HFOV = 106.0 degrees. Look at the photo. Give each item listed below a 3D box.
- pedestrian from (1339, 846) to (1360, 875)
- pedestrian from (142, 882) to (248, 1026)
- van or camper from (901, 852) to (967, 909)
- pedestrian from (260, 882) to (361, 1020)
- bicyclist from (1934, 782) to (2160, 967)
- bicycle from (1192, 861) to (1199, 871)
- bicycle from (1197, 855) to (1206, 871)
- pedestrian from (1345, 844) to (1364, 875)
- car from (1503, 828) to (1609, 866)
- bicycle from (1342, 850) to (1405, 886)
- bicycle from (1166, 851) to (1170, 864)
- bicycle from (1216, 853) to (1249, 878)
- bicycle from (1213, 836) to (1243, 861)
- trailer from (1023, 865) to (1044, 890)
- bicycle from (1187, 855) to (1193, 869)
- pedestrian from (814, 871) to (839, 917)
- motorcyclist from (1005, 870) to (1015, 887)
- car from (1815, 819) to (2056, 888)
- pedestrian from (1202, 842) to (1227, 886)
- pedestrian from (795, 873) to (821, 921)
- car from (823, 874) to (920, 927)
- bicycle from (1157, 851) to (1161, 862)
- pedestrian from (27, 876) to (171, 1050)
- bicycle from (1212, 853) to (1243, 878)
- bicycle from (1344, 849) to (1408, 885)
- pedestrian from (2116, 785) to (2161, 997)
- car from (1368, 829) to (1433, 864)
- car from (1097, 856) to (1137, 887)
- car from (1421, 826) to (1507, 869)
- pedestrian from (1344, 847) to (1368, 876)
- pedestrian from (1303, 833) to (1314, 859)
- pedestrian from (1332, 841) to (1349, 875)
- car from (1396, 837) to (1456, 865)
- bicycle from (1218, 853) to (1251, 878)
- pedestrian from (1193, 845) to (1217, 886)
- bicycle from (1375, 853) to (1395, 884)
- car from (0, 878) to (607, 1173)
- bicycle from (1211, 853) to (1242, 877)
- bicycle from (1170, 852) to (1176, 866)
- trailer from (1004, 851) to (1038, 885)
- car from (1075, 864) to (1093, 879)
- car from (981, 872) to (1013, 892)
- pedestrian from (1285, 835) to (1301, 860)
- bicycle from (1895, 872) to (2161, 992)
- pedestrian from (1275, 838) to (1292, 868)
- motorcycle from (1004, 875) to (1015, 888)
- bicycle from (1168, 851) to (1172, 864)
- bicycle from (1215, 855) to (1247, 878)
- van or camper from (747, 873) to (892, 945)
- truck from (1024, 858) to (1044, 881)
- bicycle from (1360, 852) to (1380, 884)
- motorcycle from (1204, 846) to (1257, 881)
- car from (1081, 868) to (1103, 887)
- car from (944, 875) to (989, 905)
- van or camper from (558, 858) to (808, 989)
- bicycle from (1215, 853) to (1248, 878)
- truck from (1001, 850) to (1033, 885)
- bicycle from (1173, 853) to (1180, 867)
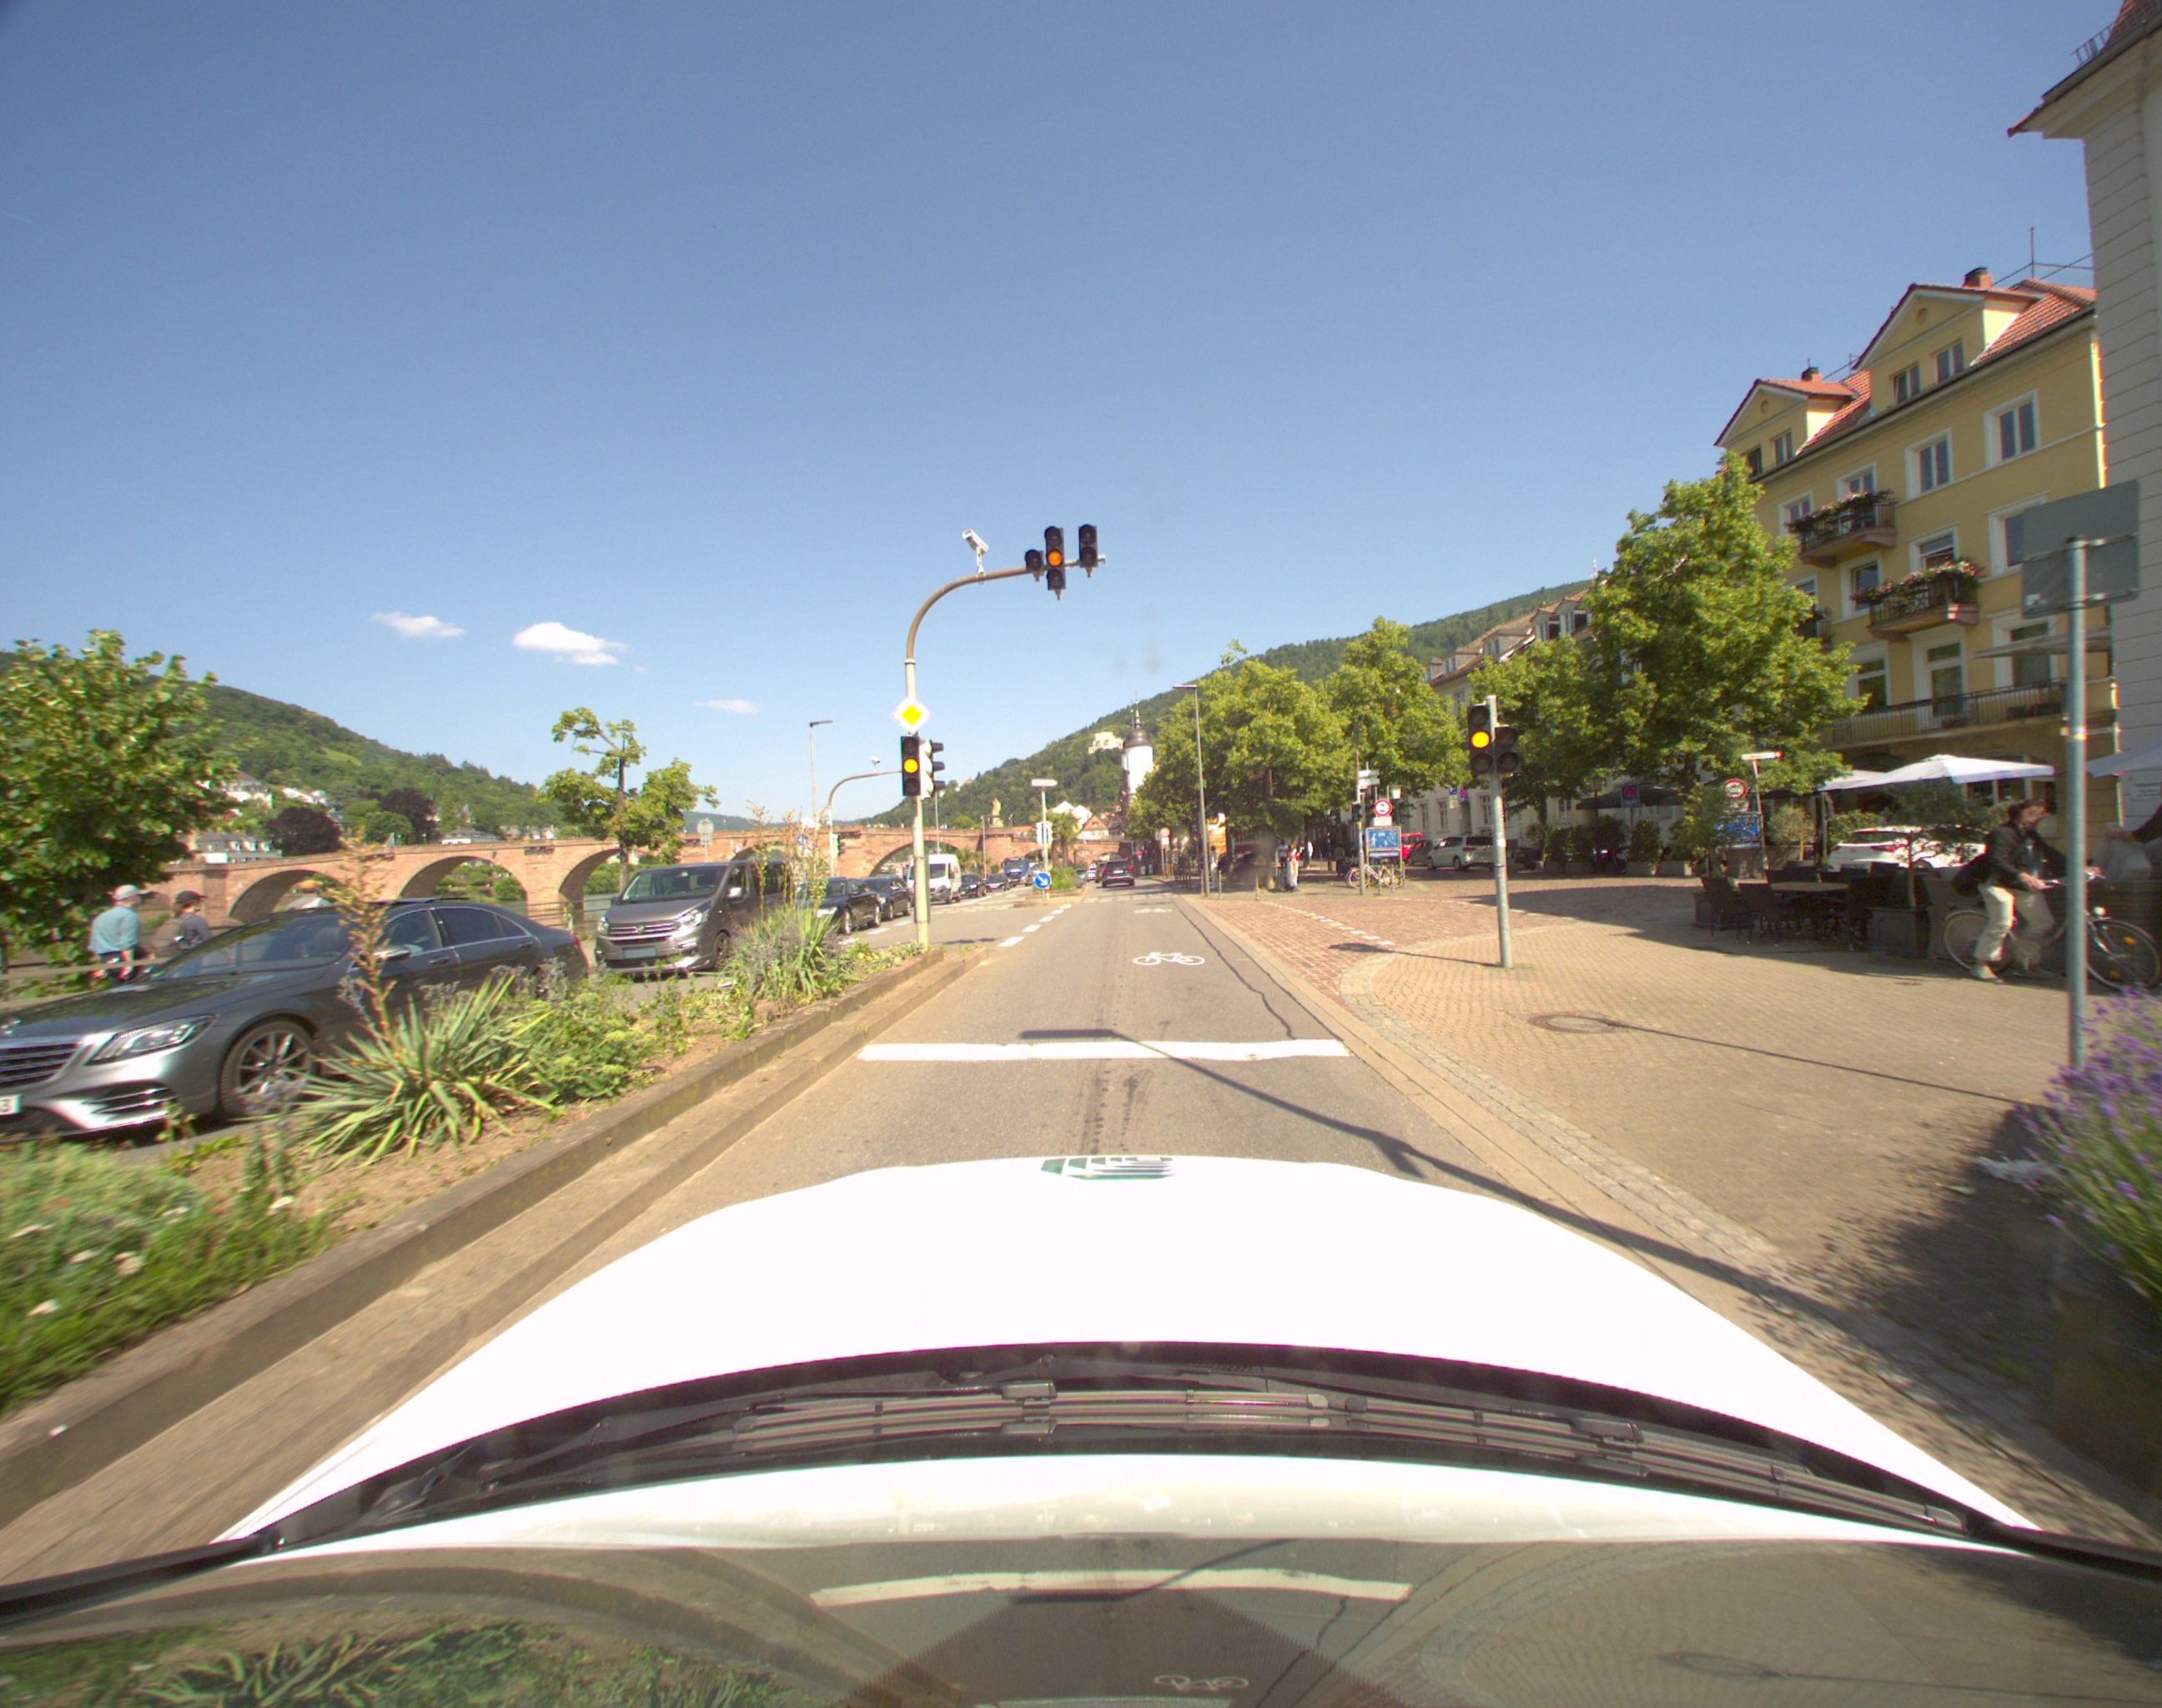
[{"bbox_3d":[12.352,0.297,37.469,0.625,1.281,0.752,-1,-1,-7],"label":"pedestrian"},{"bbox_3d":[-10.364,1.147,9.544,0.539,1.600,0.641,-1,-1,-3],"label":"pedestrian"},{"bbox_3d":[-7.148,1.269,40.165,1.987,2.450,5.494,-5,-1,0],"label":"van or camper"},{"bbox_3d":[-10.883,1.335,11.532,0.761,1.858,0.694,-1,-1,-7],"label":"pedestrian"},{"bbox_3d":[9.046,0.182,7.677,0.767,1.583,1.084,-3,-1,-13],"label":"bicyclist"},{"bbox_3d":[7.692,0.779,54.819,0.249,0.664,1.469,-3,-1,0],"label":"bicycle"},{"bbox_3d":[7.646,0.583,51.679,0.249,1.010,1.488,-3,-1,0],"label":"bicycle"},{"bbox_3d":[12.352,0.251,36.817,0.625,1.382,0.540,-1,-1,-7],"label":"pedestrian"},{"bbox_3d":[21.093,-0.307,36.239,3.730,1.432,1.621,-3,0,-2],"label":"car"},{"bbox_3d":[10.242,0.476,28.563,1.998,1.198,0.523,-2,0,12],"label":"bicycle"},{"bbox_3d":[7.831,0.333,73.389,0.249,1.096,1.489,-1,-1,1],"label":"bicycle"},{"bbox_3d":[7.387,0.562,39.720,1.481,1.120,0.377,-4,-1,-5],"label":"bicycle"},{"bbox_3d":[9.238,-0.343,51.250,1.769,1.483,0.269,-4,-1,-1],"label":"bicycle"},{"bbox_3d":[-7.076,3.453,123.465,2.650,3.403,10.162,-3,0,-1],"label":"trailer"},{"bbox_3d":[7.747,0.565,57.868,0.249,1.000,1.488,-1,-1,0],"label":"bicycle"},{"bbox_3d":[-9.959,1.556,31.873,0.693,1.780,0.762,2,-1,-7],"label":"pedestrian"},{"bbox_3d":[-6.584,2.255,75.325,0.733,1.470,1.011,-3,-1,-1],"label":"motorcyclist"},{"bbox_3d":[20.585,-0.035,19.741,3.975,1.455,1.833,-2,1,-1],"label":"car"},{"bbox_3d":[5.553,0.402,33.863,0.693,1.771,0.762,-5,0,-7],"label":"pedestrian"},{"bbox_3d":[-10.331,1.623,30.844,0.693,1.780,0.762,2,-1,-7],"label":"pedestrian"},{"bbox_3d":[-7.026,1.508,27.845,1.946,1.408,4.570,-6,0,1],"label":"car"},{"bbox_3d":[8.043,0.249,84.102,0.354,1.096,1.491,-1,-1,7],"label":"bicycle"},{"bbox_3d":[-11.081,1.190,9.220,0.761,1.858,0.694,-1,-1,-7],"label":"pedestrian"},{"bbox_3d":[7.432,0.584,41.340,1.481,1.120,0.250,-4,-1,-5],"label":"bicycle"},{"bbox_3d":[10.144,0.459,28.062,1.985,1.198,0.523,-1,0,12],"label":"bicycle"},{"bbox_3d":[9.839,0.305,7.097,0.761,1.858,0.608,-5,0,-7],"label":"pedestrian"},{"bbox_3d":[19.445,-0.430,49.757,1.988,1.902,4.631,-3,0,-1],"label":"car"},{"bbox_3d":[1.976,0.960,46.161,1.921,1.553,4.829,-4,-1,-1],"label":"car"},{"bbox_3d":[17.405,-0.284,37.285,1.763,1.728,4.568,-3,0,0],"label":"car"},{"bbox_3d":[12.182,0.334,36.070,0.693,1.252,0.762,-3,0,-7],"label":"pedestrian"},{"bbox_3d":[18.020,-0.602,64.532,0.632,2.013,0.644,-3,0,0],"label":"pedestrian"},{"bbox_3d":[11.846,0.176,37.170,0.458,1.517,0.689,-2,-1,-7],"label":"pedestrian"},{"bbox_3d":[18.940,-0.138,44.836,1.670,1.432,3.469,-3,-1,-2],"label":"car"},{"bbox_3d":[7.409,0.561,39.338,1.479,1.120,0.294,-4,-1,-1],"label":"bicycle"},{"bbox_3d":[5.249,0.475,34.486,0.693,1.677,0.762,-5,0,-7],"label":"pedestrian"},{"bbox_3d":[11.085,0.507,29.679,0.589,1.067,2.076,-4,-2,20],"label":"bicycle"},{"bbox_3d":[-6.878,1.177,7.508,1.989,1.598,5.152,-6,0,-2],"label":"car"},{"bbox_3d":[7.507,0.590,42.126,1.481,1.120,0.250,-4,-1,-5],"label":"bicycle"},{"bbox_3d":[7.795,0.418,69.055,0.274,1.096,1.489,-8,-1,1],"label":"bicycle"},{"bbox_3d":[-6.492,1.455,89.218,2.648,3.403,8.828,-3,0,1],"label":"trailer"},{"bbox_3d":[0.390,1.976,94.531,1.986,1.553,4.833,-3,0,1],"label":"car"},{"bbox_3d":[-6.733,2.272,65.637,1.946,1.412,4.218,-5,-2,1],"label":"car"},{"bbox_3d":[16.834,-0.494,64.605,0.965,1.915,0.747,-3,-1,1],"label":"pedestrian"},{"bbox_3d":[9.063,0.668,7.708,0.750,0.964,1.774,-2,-1,-12],"label":"bicycle"},{"bbox_3d":[11.490,-0.081,46.289,0.705,1.653,0.707,-3,-1,1],"label":"pedestrian"},{"bbox_3d":[-6.575,2.538,75.309,0.755,1.131,2.454,-3,0,-1],"label":"motorcycle"},{"bbox_3d":[7.800,0.332,71.462,0.249,1.096,1.489,-1,-1,1],"label":"bicycle"},{"bbox_3d":[7.558,0.622,41.098,1.481,1.031,0.293,-4,-1,-5],"label":"bicycle"},{"bbox_3d":[-6.633,1.325,21.331,1.987,1.476,5.065,-5,-1,1],"label":"van or camper"},{"bbox_3d":[-7.157,2.384,125.122,2.650,3.403,5.132,-3,-1,-1],"label":"truck"},{"bbox_3d":[10.627,0.502,29.929,0.589,1.067,2.076,-4,-1,20],"label":"bicycle"},{"bbox_3d":[6.963,0.435,37.997,2.269,1.465,0.769,-5,-2,42],"label":"motorcycle"},{"bbox_3d":[1.108,2.241,78.706,1.986,1.553,4.833,-3,0,1],"label":"car"},{"bbox_3d":[-6.850,2.104,49.047,1.812,1.455,4.929,-5,0,1],"label":"car"},{"bbox_3d":[-6.988,1.094,15.116,1.987,1.873,5.178,-4,0,0],"label":"van or camper"},{"bbox_3d":[7.439,0.566,40.218,1.481,1.120,0.293,-4,-1,-5],"label":"bicycle"},{"bbox_3d":[-6.598,1.421,84.562,2.648,3.403,4.451,-3,-1,1],"label":"truck"},{"bbox_3d":[7.693,0.476,65.484,0.344,1.096,1.489,-1,-1,1],"label":"bicycle"}]
